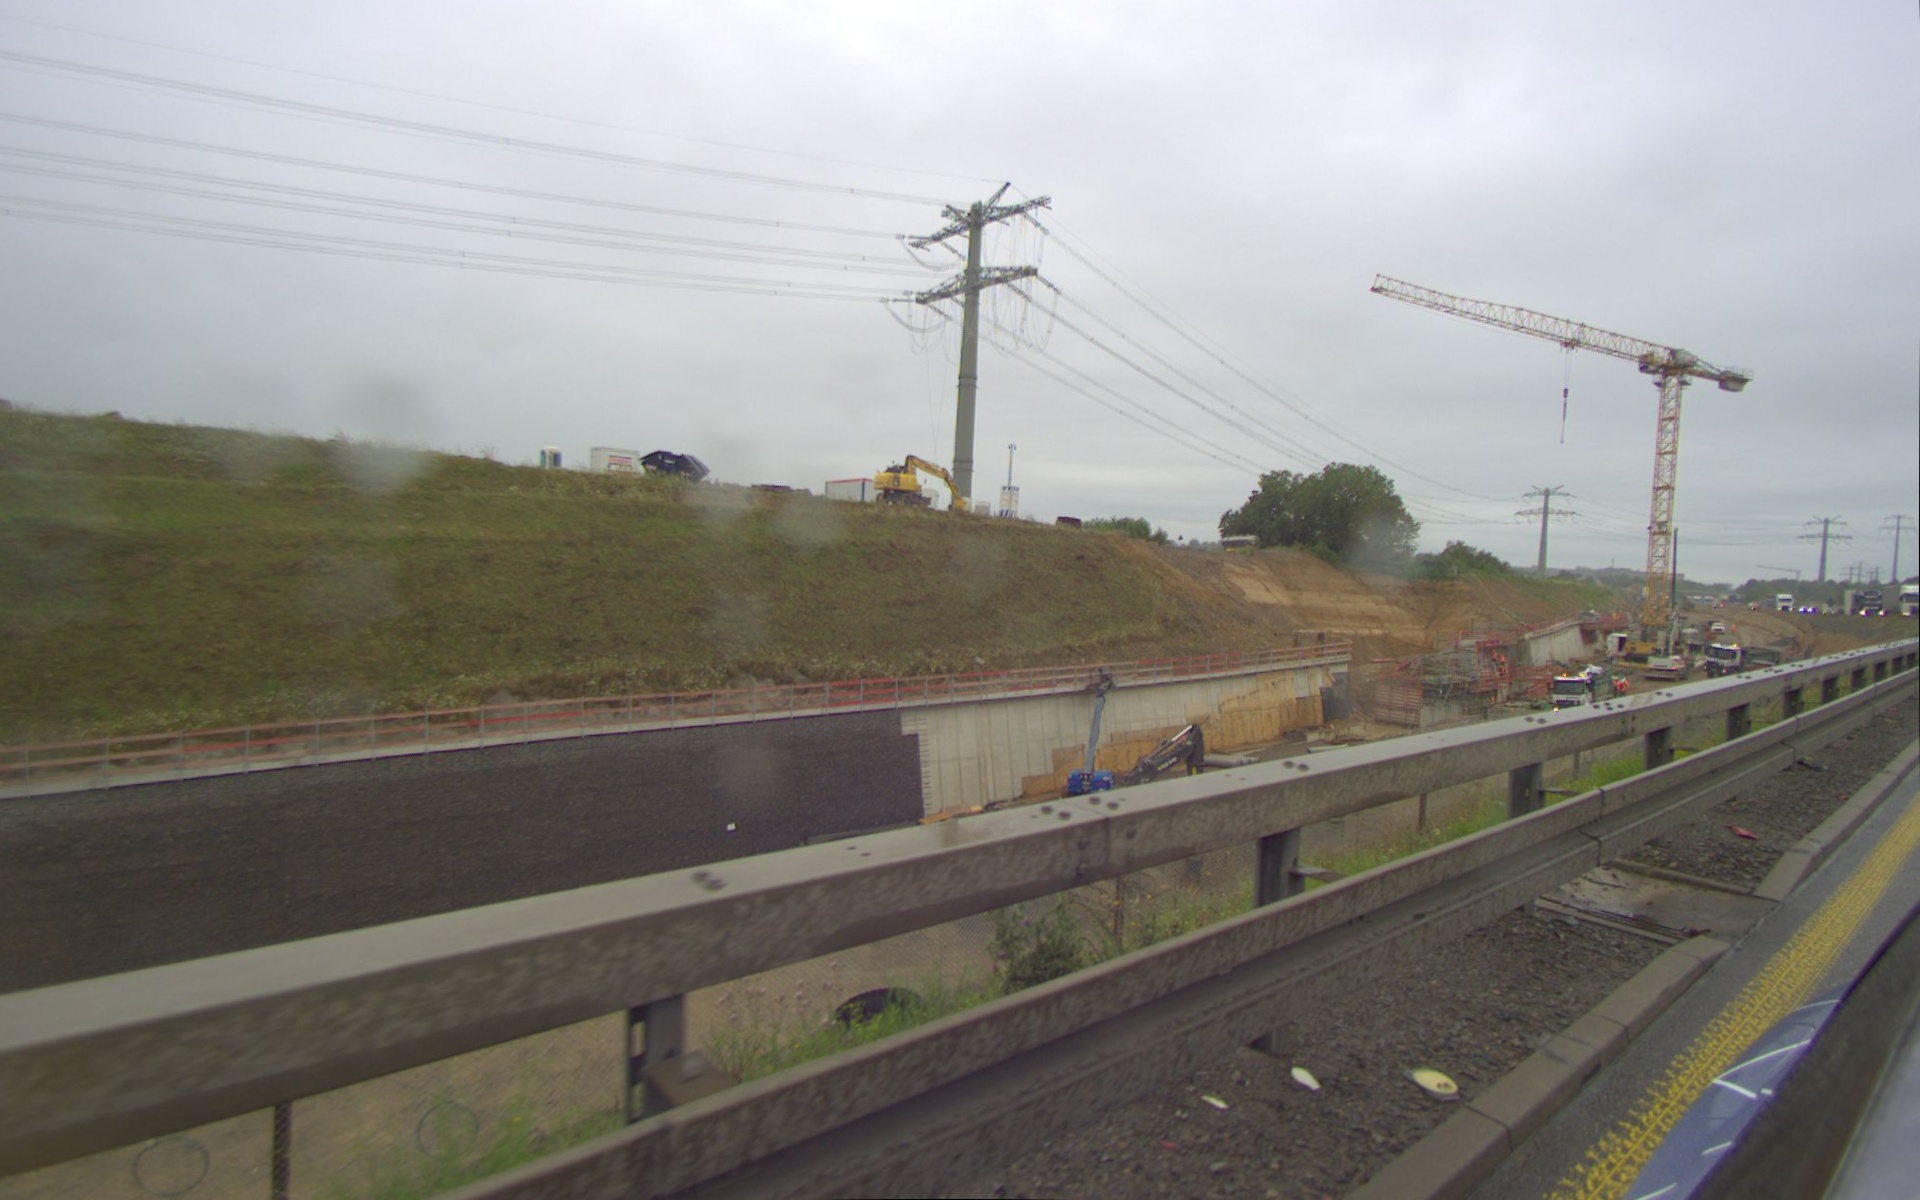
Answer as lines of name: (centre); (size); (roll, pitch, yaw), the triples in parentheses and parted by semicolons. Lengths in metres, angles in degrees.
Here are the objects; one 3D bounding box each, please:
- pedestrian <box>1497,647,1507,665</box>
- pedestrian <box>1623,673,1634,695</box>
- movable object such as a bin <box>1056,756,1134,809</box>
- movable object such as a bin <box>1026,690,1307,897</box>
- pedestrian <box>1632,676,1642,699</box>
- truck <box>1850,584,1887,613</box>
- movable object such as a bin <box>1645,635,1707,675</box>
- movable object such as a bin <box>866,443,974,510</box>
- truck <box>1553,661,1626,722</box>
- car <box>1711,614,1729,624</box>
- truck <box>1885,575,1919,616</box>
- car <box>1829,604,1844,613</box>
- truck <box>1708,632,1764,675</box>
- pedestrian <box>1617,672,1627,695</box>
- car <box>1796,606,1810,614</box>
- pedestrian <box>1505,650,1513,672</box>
pedestrian: (54.086, 5.582, 100.957); (0.570, 1.827, 0.490); (-3, -3, -8)
pedestrian: (58.524, 7.356, 88.581); (0.601, 1.791, 0.474); (5, 4, 42)
movable object such as a bin: (6.812, 9.155, 50.975); (2.515, 1.935, 3.207); (-2, -1, 43)
movable object such as a bin: (8.719, 7.295, 41.262); (11.886, 5.740, 4.900); (-4, 1, -41)
pedestrian: (59.840, 7.749, 89.394); (0.601, 1.928, 0.605); (3, 2, 42)
truck: (128.626, -0.209, 143.308); (3.531, 3.943, 8.215); (-1, -1, 40)
movable object such as a bin: (72.125, 5.507, 101.922); (6.535, 3.467, 3.516); (-2, 1, -39)
movable object such as a bin: (-3.005, -9.341, 77.379); (8.034, 4.258, 3.105); (0, 1, -41)
truck: (48.657, 6.969, 78.087); (2.705, 3.655, 8.928); (3, 3, 45)
car: (141.091, 3.478, 187.882); (2.342, 1.638, 4.789); (2, 2, 40)
truck: (106.990, -0.456, 113.617); (4.303, 4.400, 13.208); (-1, 0, 41)
car: (140.543, 1.370, 162.240); (1.783, 1.445, 3.940); (-1, 0, 41)
truck: (79.076, 5.357, 103.114); (8.765, 3.583, 3.354); (-3, 3, -45)
pedestrian: (59.160, 7.451, 90.405); (0.601, 1.928, 0.474); (4, 3, 42)
car: (155.373, 1.808, 186.555); (1.781, 1.445, 3.946); (-1, 0, 37)
pedestrian: (55.204, 6.127, 101.790); (0.487, 2.127, 0.474); (-6, -4, 42)
